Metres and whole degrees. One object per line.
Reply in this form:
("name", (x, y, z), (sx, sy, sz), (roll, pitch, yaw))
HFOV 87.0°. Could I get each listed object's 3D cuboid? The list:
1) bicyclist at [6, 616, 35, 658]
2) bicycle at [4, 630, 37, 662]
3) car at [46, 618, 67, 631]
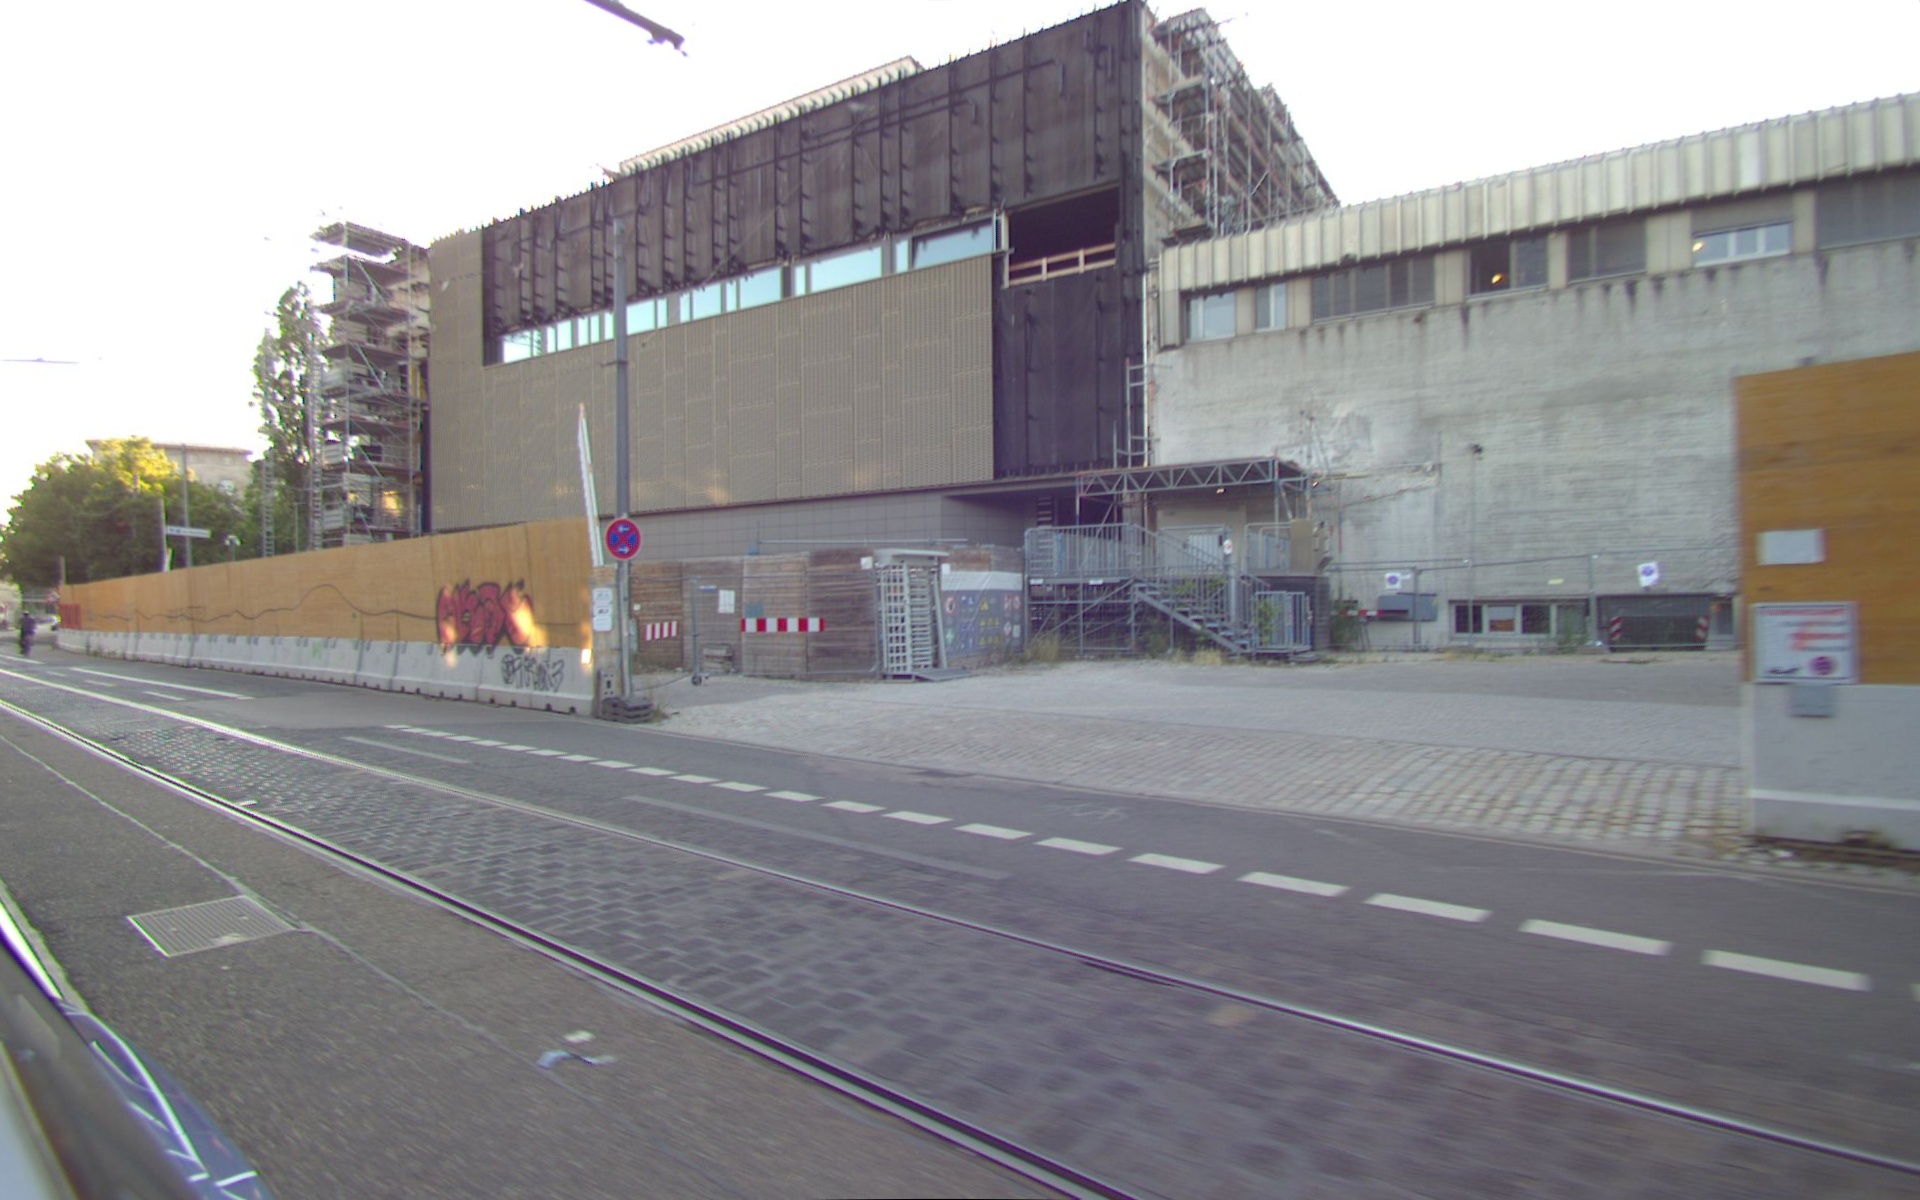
("bicyclist", (-38.282, 1.480, 41.227), (1.017, 1.678, 0.760), (-2, -1, 41))
("bicycle", (-38.246, 1.866, 41.196), (1.935, 1.237, 0.760), (-2, -1, 41))
("car", (-123.364, 3.326, 138.183), (1.968, 1.696, 4.007), (-1, 0, -39))
